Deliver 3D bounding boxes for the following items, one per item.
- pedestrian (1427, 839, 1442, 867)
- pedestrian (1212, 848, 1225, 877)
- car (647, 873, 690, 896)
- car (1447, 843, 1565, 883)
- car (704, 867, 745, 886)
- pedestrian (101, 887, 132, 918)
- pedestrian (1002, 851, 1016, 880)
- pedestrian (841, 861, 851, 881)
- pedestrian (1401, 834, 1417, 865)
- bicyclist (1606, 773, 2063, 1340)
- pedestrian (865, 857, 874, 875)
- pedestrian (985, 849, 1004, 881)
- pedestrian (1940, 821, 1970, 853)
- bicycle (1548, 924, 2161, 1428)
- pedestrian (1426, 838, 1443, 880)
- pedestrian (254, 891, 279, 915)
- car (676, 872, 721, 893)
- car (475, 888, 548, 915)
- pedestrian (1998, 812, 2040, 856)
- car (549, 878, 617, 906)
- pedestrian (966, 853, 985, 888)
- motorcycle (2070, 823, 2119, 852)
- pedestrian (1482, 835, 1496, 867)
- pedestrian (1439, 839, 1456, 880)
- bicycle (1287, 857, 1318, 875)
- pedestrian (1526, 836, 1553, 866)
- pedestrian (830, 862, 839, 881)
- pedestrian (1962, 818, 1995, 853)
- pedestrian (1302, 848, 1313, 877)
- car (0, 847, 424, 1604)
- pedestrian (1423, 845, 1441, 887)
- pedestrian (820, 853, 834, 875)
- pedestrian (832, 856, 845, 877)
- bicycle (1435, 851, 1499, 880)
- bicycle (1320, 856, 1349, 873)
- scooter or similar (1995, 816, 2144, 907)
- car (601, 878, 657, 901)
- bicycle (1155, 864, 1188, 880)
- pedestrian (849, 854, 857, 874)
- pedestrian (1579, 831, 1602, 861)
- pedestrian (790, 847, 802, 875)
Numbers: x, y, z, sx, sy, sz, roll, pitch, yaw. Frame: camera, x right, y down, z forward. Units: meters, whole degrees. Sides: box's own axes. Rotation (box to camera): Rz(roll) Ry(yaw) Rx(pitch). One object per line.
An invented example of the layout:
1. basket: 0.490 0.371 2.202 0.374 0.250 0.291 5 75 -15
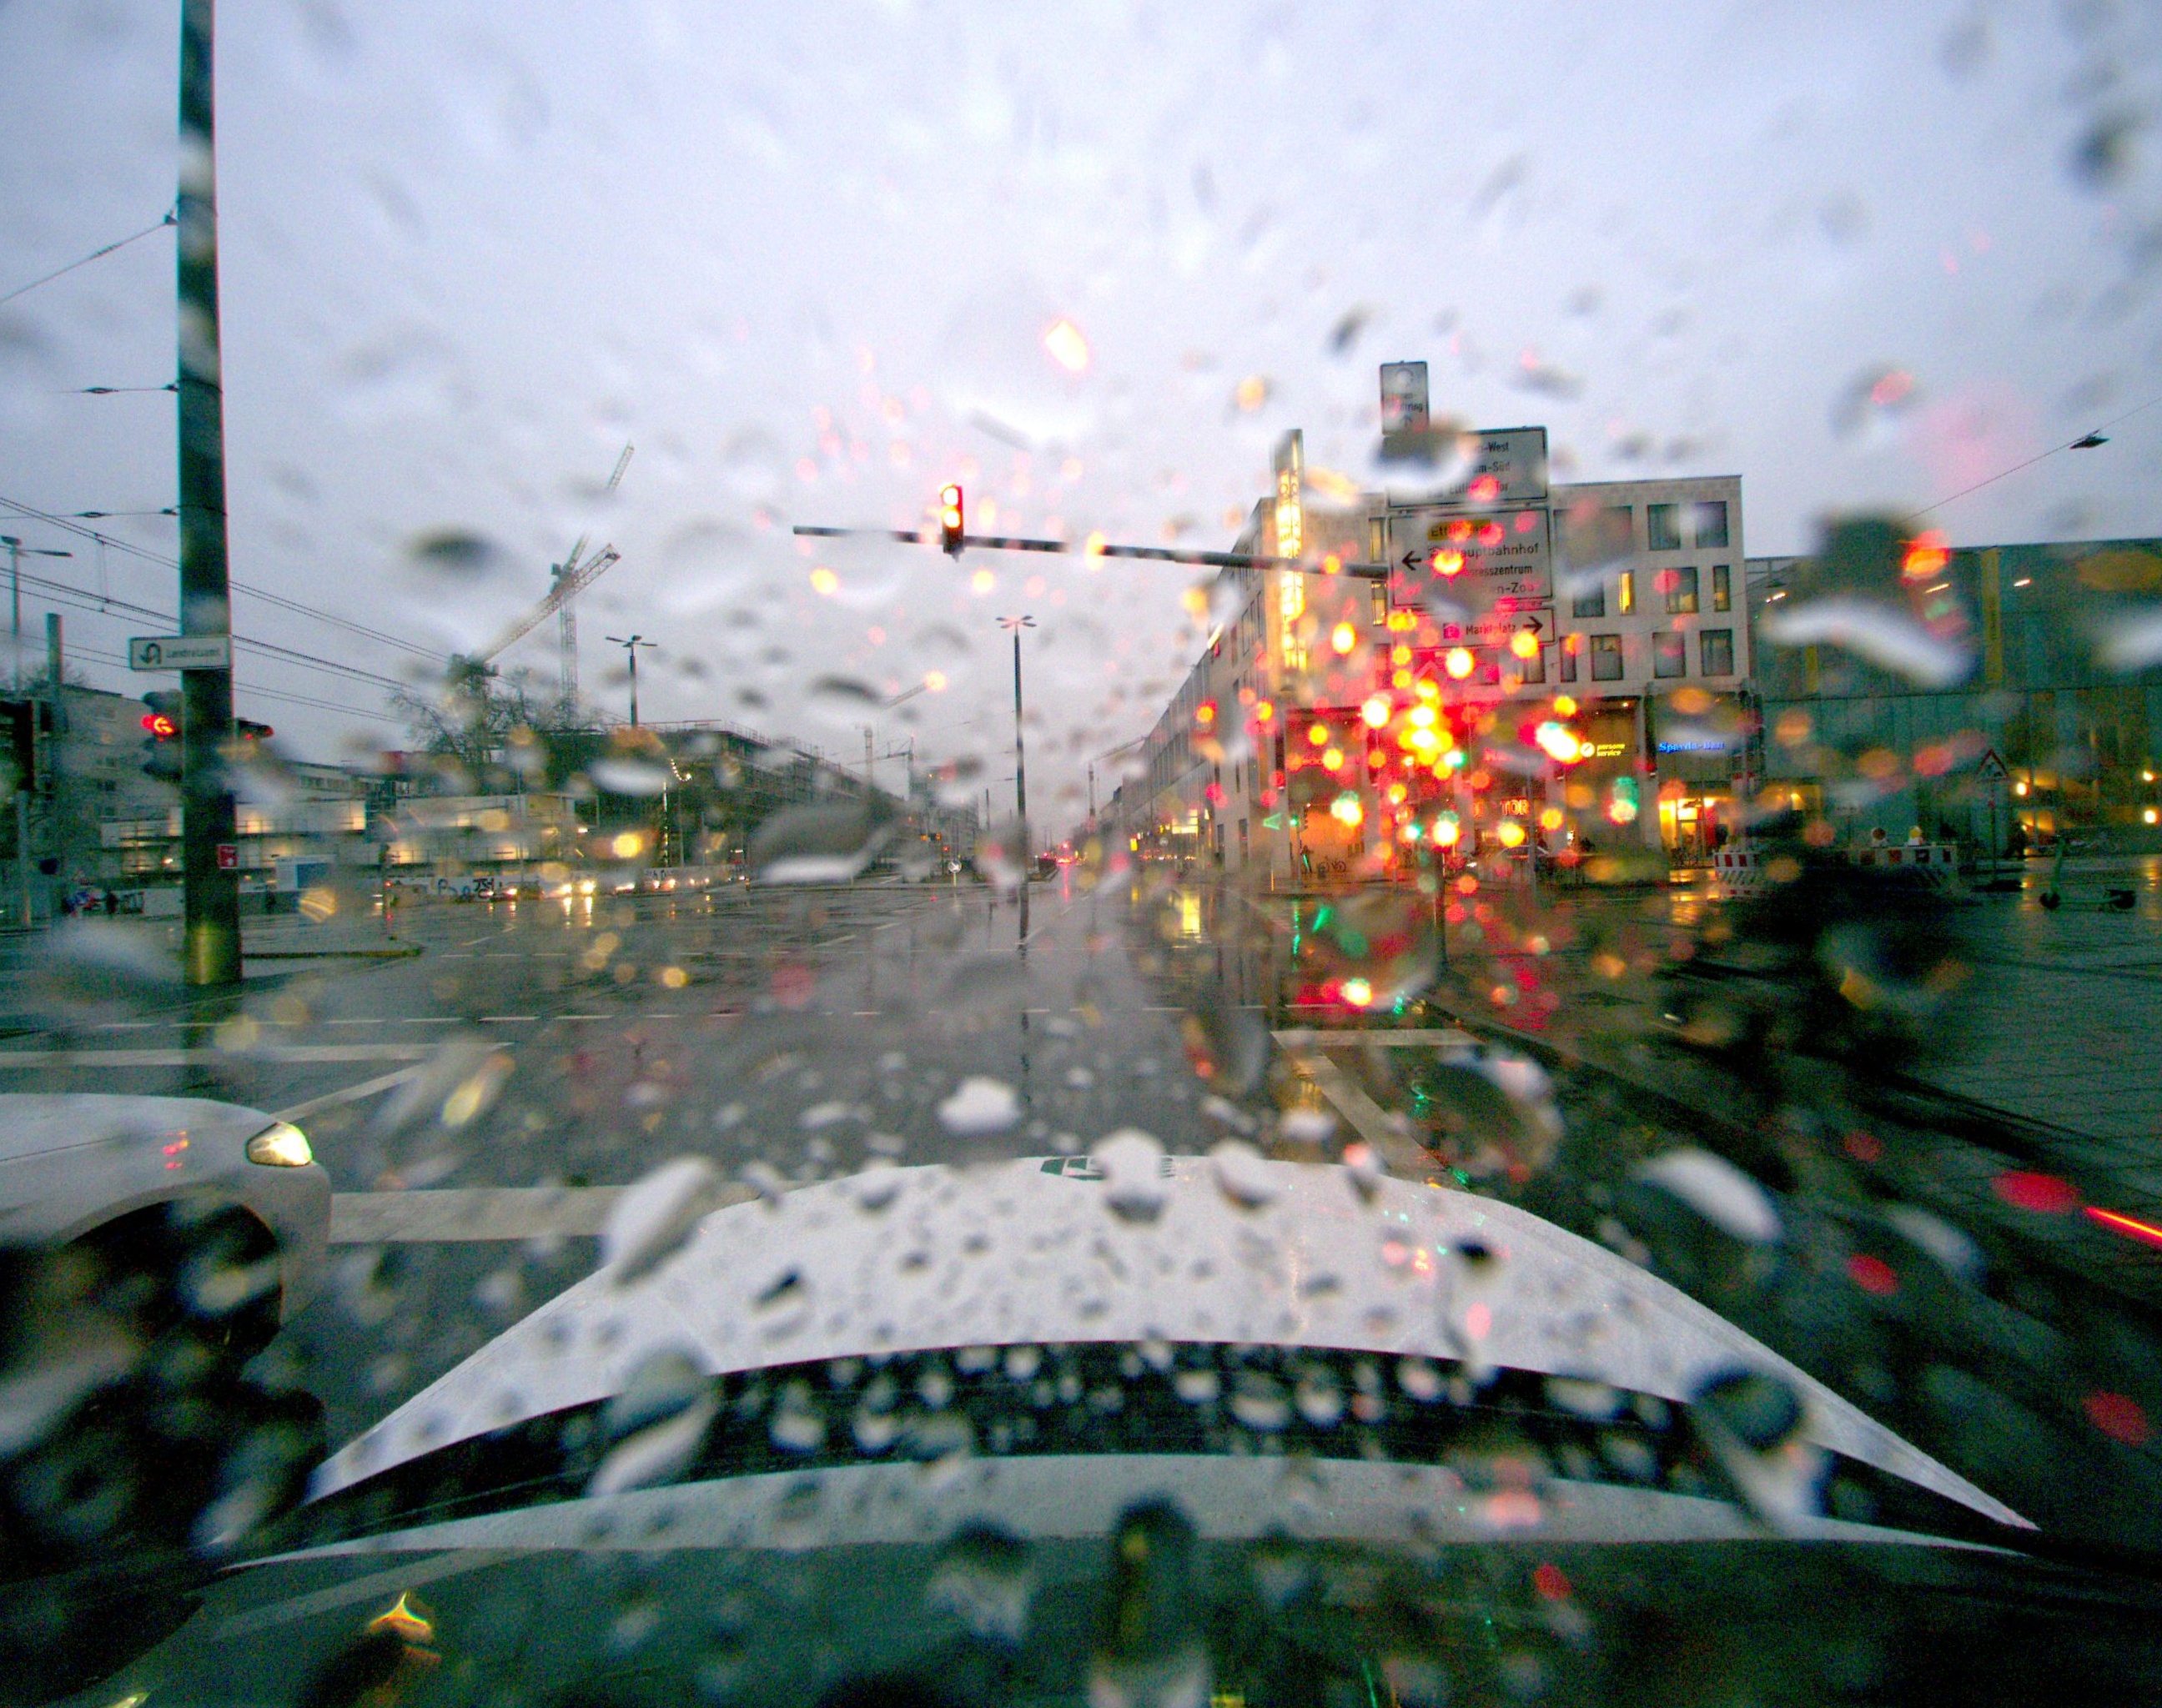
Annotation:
1. pedestrian: 22.245 -0.065 51.224 0.728 1.718 0.743 -3 -1 29
2. pedestrian: 8.234 0.529 48.674 0.634 1.709 0.574 -2 -1 1
3. car: -34.594 2.524 68.399 1.862 1.828 3.993 0 -1 -5
4. car: 17.887 0.369 34.416 3.970 1.618 2.001 0 -1 3
5. car: -35.014 2.188 80.024 1.984 1.790 4.005 0 -1 5
6. pedestrian: -60.006 3.011 50.689 0.921 1.934 0.816 0 -1 -5
7. pedestrian: -4.242 0.694 48.072 0.605 1.686 0.581 -1 -1 44
8. pedestrian: -23.015 1.644 79.725 0.762 1.898 0.763 0 -2 1
9. pedestrian: 21.604 -0.279 53.640 0.841 2.013 0.700 -2 0 10
10. bicyclist: 2.540 0.598 2.892 0.700 1.660 0.965 -2 0 2
11. pedestrian: -24.362 1.364 93.839 0.941 2.014 1.091 0 -1 -8
12. pedestrian: -4.941 0.632 46.681 0.826 1.831 0.778 0 -1 -29
13. pedestrian: 46.026 -0.893 42.889 0.737 1.684 0.783 -1 -1 8
14. bicycle: 2.540 0.890 2.946 0.705 1.094 1.785 -1 0 2
15. pedestrian: 20.938 0.297 48.245 0.687 2.441 0.758 0 -1 1
16. pedestrian: -49.805 3.014 49.804 0.725 1.388 0.725 -2 -1 4
17. car: -34.944 2.568 74.465 1.984 1.790 4.005 0 -1 5
18. car: -38.211 3.153 54.800 1.986 1.530 4.001 -2 -1 2
19. pedestrian: 36.936 -0.768 32.071 0.737 1.684 0.783 -1 -1 8
20. car: -33.669 2.570 55.192 1.986 1.657 4.001 -2 -1 2
21. pedestrian: -6.152 0.974 47.419 0.776 2.014 0.732 -1 -1 44
22. motorcycle: 48.225 -0.761 38.762 1.482 1.352 0.595 0 0 5
23. pedestrian: 23.376 -0.167 46.660 0.549 1.826 0.361 -2 -1 2
24. pedestrian: 21.754 0.324 48.346 0.691 2.448 0.792 0 -1 1
25. bicycle: 13.678 0.743 50.346 1.765 1.070 0.523 0 -1 -7
26. pedestrian: 25.557 -0.160 45.401 1.026 1.684 0.824 0 -1 1
27. pedestrian: -23.487 1.661 77.542 0.696 1.881 0.553 0 -1 1
28. pedestrian: 44.150 -0.884 40.056 0.737 1.684 0.783 -1 -1 8
29. pedestrian: 13.686 0.508 49.275 0.596 1.745 0.526 -1 -1 10
30. car: -3.178 0.761 0.334 2.010 1.487 4.561 -2 0 1
31. pedestrian: 20.352 0.690 47.220 0.712 2.441 0.758 0 -1 1
32. pedestrian: -23.879 0.950 76.646 0.938 2.014 1.095 0 -1 3
33. pedestrian: -24.061 1.252 80.745 0.939 2.014 1.094 0 -1 1
34. bicycle: 19.240 0.580 40.619 2.705 1.359 0.957 -2 -1 -2
35. bicycle: 15.691 0.660 50.428 1.642 1.070 0.524 0 -1 -2
36. scooter or similar: 15.684 0.109 12.978 0.590 1.352 1.495 0 0 2
37. car: -34.291 2.660 61.902 2.074 1.530 4.603 -2 -1 -8
38. bicycle: 6.870 1.364 62.168 2.417 1.099 0.712 -2 -1 0
39. pedestrian: -22.763 1.005 81.354 0.569 1.968 0.664 1 -1 -4
40. pedestrian: 29.359 -0.432 46.938 0.890 1.684 0.528 -2 -1 1
41. pedestrian: -24.292 0.586 69.394 0.762 2.323 0.763 0 -2 1
